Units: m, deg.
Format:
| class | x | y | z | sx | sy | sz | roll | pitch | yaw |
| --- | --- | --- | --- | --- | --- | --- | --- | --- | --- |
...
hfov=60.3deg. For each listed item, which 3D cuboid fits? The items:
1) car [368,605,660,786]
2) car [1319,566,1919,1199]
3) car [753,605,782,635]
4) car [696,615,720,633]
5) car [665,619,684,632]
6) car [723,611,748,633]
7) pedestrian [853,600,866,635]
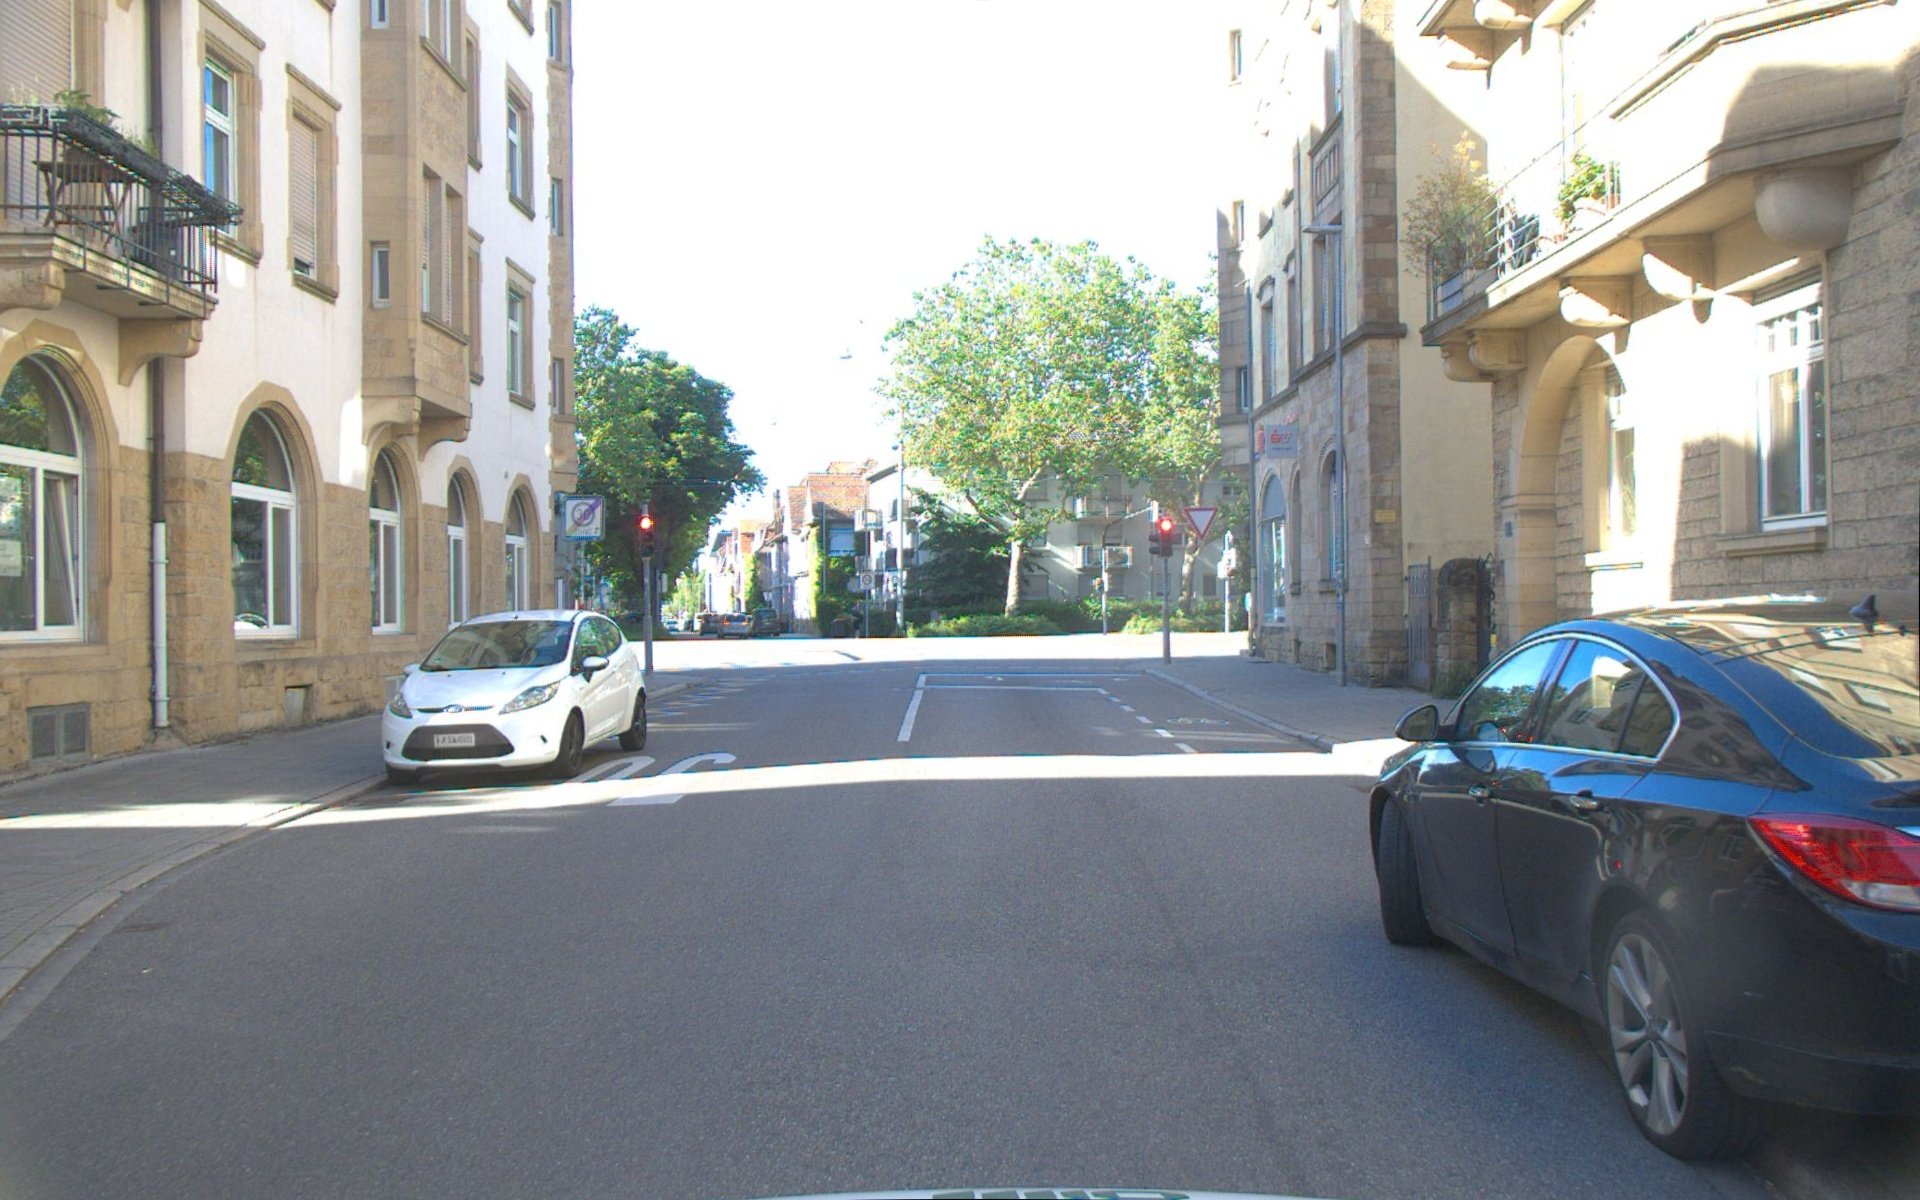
| class | x | y | z | sx | sy | sz | roll | pitch | yaw |
| --- | --- | --- | --- | --- | --- | --- | --- | --- | --- |
| car | -4.070 | 0.805 | 15.692 | 1.600 | 1.489 | 3.736 | -1 | 0 | 3 |
| car | 2.655 | 0.647 | 5.698 | 1.827 | 1.487 | 4.339 | -2 | 0 | -1 |
| car | -13.820 | 1.433 | 118.716 | 1.956 | 2.049 | 3.993 | -1 | 0 | -8 |
| car | -20.950 | 1.985 | 137.438 | 1.707 | 1.360 | 3.822 | -1 | 0 | -12 |
| car | -33.550 | 3.007 | 194.120 | 1.959 | 1.471 | 3.987 | -1 | 0 | -13 |
| car | -15.438 | 1.530 | 113.759 | 1.643 | 1.509 | 3.514 | 0 | -1 | -9 |
| pedestrian | -5.113 | 0.882 | 84.030 | 0.620 | 1.780 | 0.659 | 0 | -1 | -3 |
